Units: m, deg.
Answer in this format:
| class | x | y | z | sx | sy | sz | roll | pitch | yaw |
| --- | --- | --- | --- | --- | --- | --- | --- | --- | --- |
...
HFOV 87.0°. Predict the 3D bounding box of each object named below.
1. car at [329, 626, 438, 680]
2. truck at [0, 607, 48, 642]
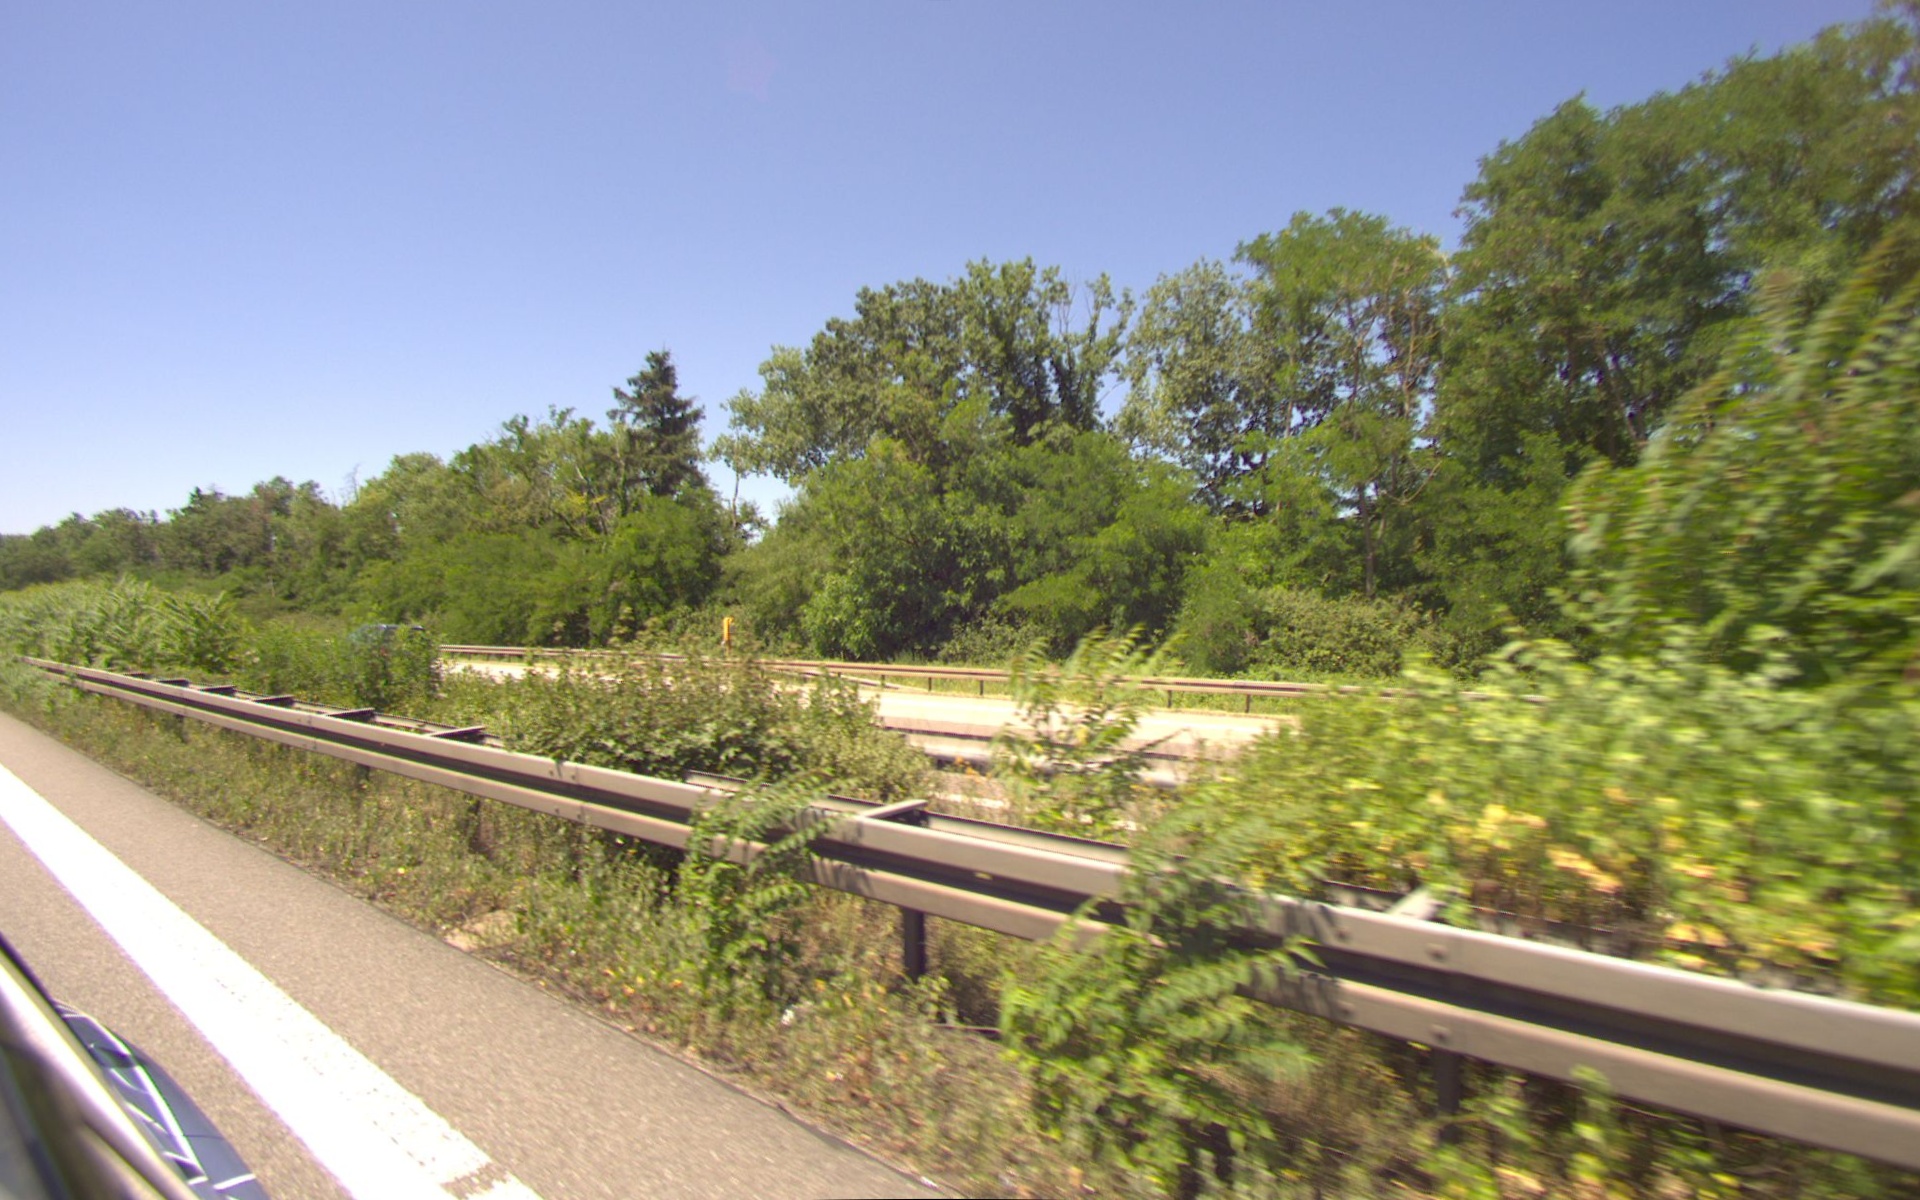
| class | x | y | z | sx | sy | sz | roll | pitch | yaw |
| --- | --- | --- | --- | --- | --- | --- | --- | --- | --- |
| car | -17.923 | 1.635 | 31.422 | 3.774 | 1.562 | 1.751 | -1 | -4 | 41 |
| truck | -106.916 | 2.802 | 115.335 | 11.892 | 3.734 | 2.869 | -1 | -4 | 41 |
